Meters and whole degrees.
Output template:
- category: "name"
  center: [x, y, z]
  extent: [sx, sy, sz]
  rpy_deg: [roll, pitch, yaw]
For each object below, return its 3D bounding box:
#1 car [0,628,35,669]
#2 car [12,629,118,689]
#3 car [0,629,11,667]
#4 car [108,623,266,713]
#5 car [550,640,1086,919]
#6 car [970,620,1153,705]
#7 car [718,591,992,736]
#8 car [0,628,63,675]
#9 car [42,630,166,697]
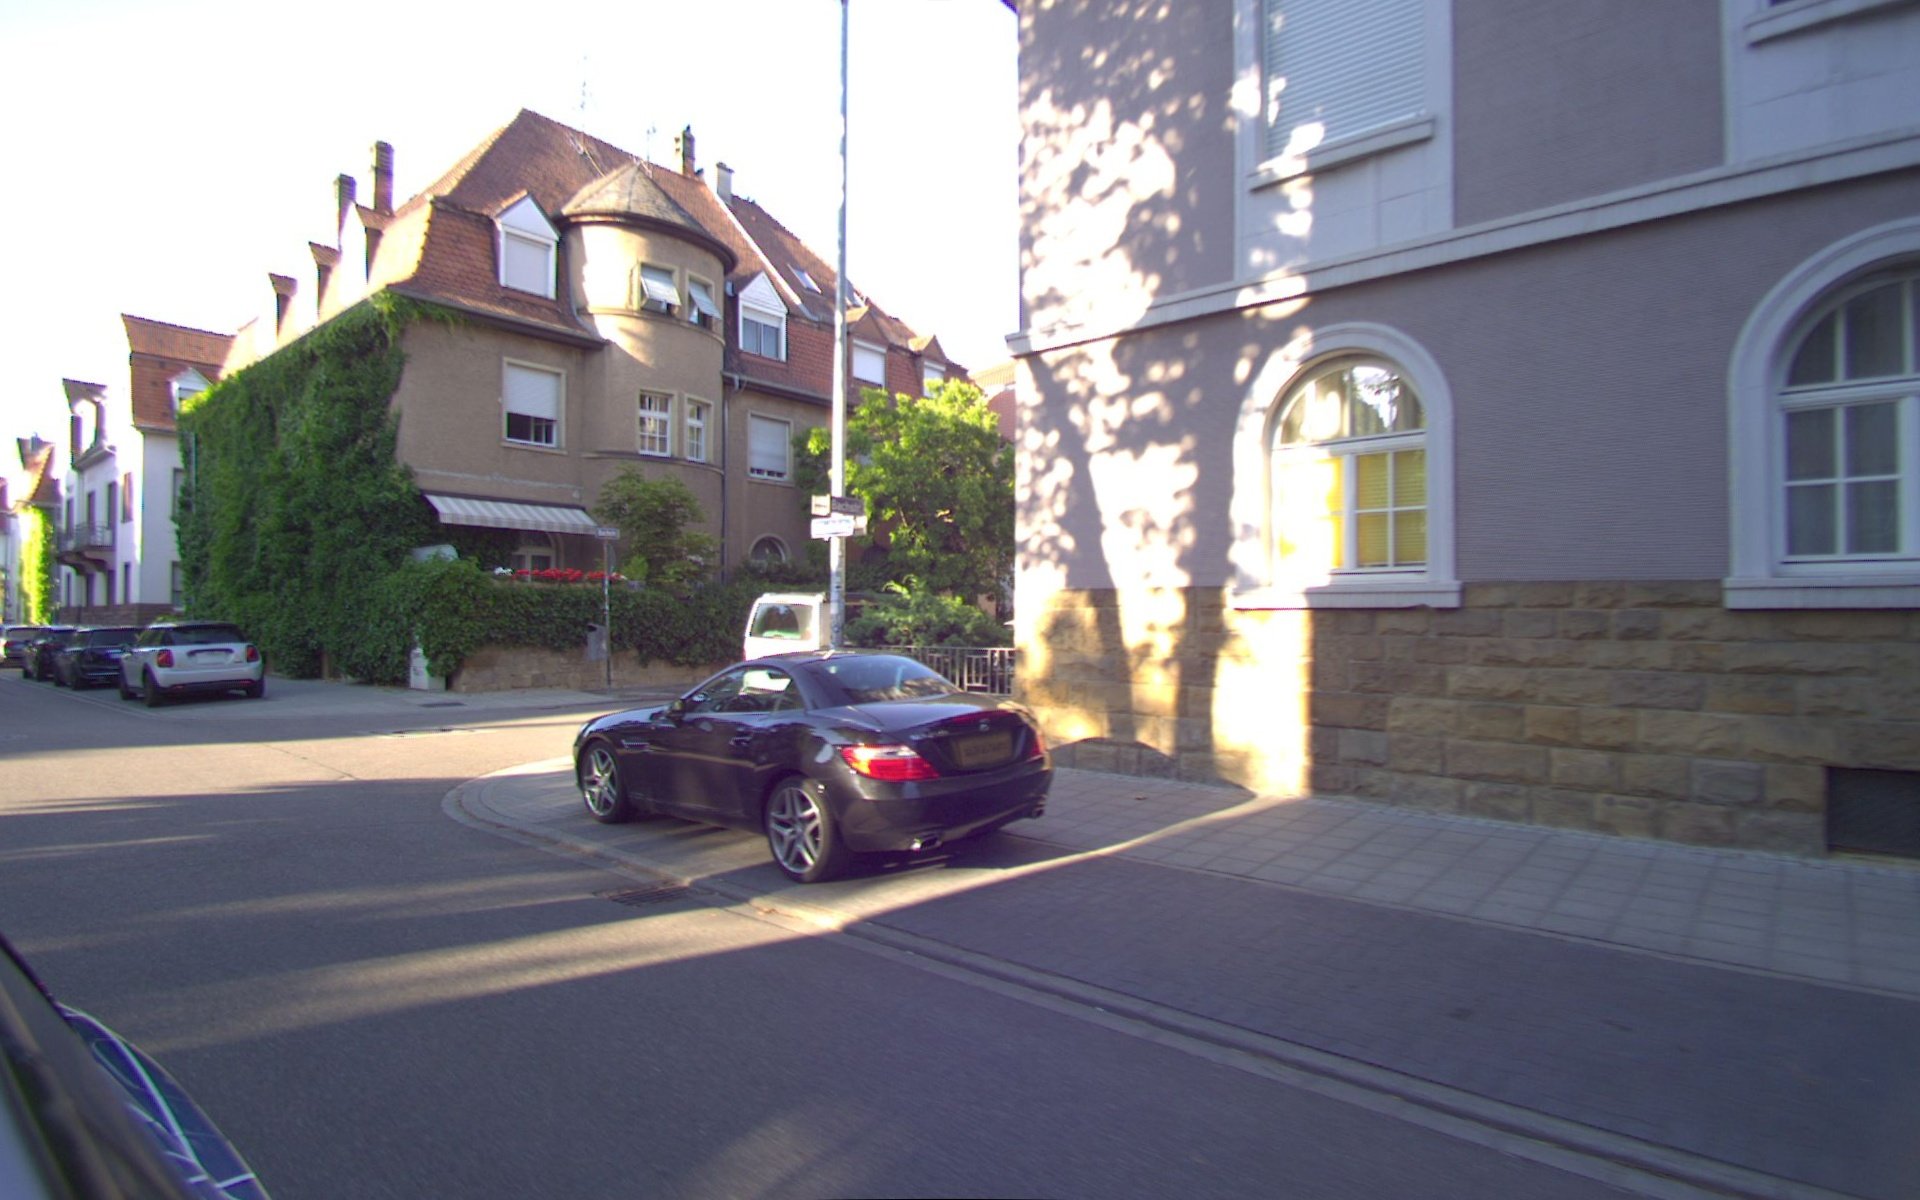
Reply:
- category: "car"
  center: [-36.370, 1.810, 38.191]
  extent: [3.840, 1.458, 1.637]
  rpy_deg: [-2, -1, 39]
- category: "car"
  center: [-24.004, 1.530, 27.096]
  extent: [4.097, 1.431, 1.632]
  rpy_deg: [-2, -1, 42]
- category: "car"
  center: [-40.015, 1.962, 41.217]
  extent: [3.763, 1.497, 1.636]
  rpy_deg: [-2, -1, 42]
- category: "car"
  center: [-14.467, 1.193, 18.862]
  extent: [3.917, 1.471, 1.686]
  rpy_deg: [-2, -1, 43]
- category: "car"
  center: [-1.227, 1.005, 7.235]
  extent: [4.046, 1.334, 1.635]
  rpy_deg: [-1, 0, 44]
- category: "car"
  center: [2.309, 1.284, 22.157]
  extent: [1.998, 1.600, 4.250]
  rpy_deg: [2, 0, 38]
- category: "car"
  center: [-1.587, 0.947, 16.738]
  extent: [1.998, 2.029, 4.358]
  rpy_deg: [2, 0, 38]
- category: "car"
  center: [-32.135, 1.717, 34.329]
  extent: [4.772, 1.472, 1.775]
  rpy_deg: [-2, -1, 39]
- category: "car"
  center: [-19.776, 1.409, 23.340]
  extent: [3.719, 1.390, 1.669]
  rpy_deg: [-2, -1, 42]
